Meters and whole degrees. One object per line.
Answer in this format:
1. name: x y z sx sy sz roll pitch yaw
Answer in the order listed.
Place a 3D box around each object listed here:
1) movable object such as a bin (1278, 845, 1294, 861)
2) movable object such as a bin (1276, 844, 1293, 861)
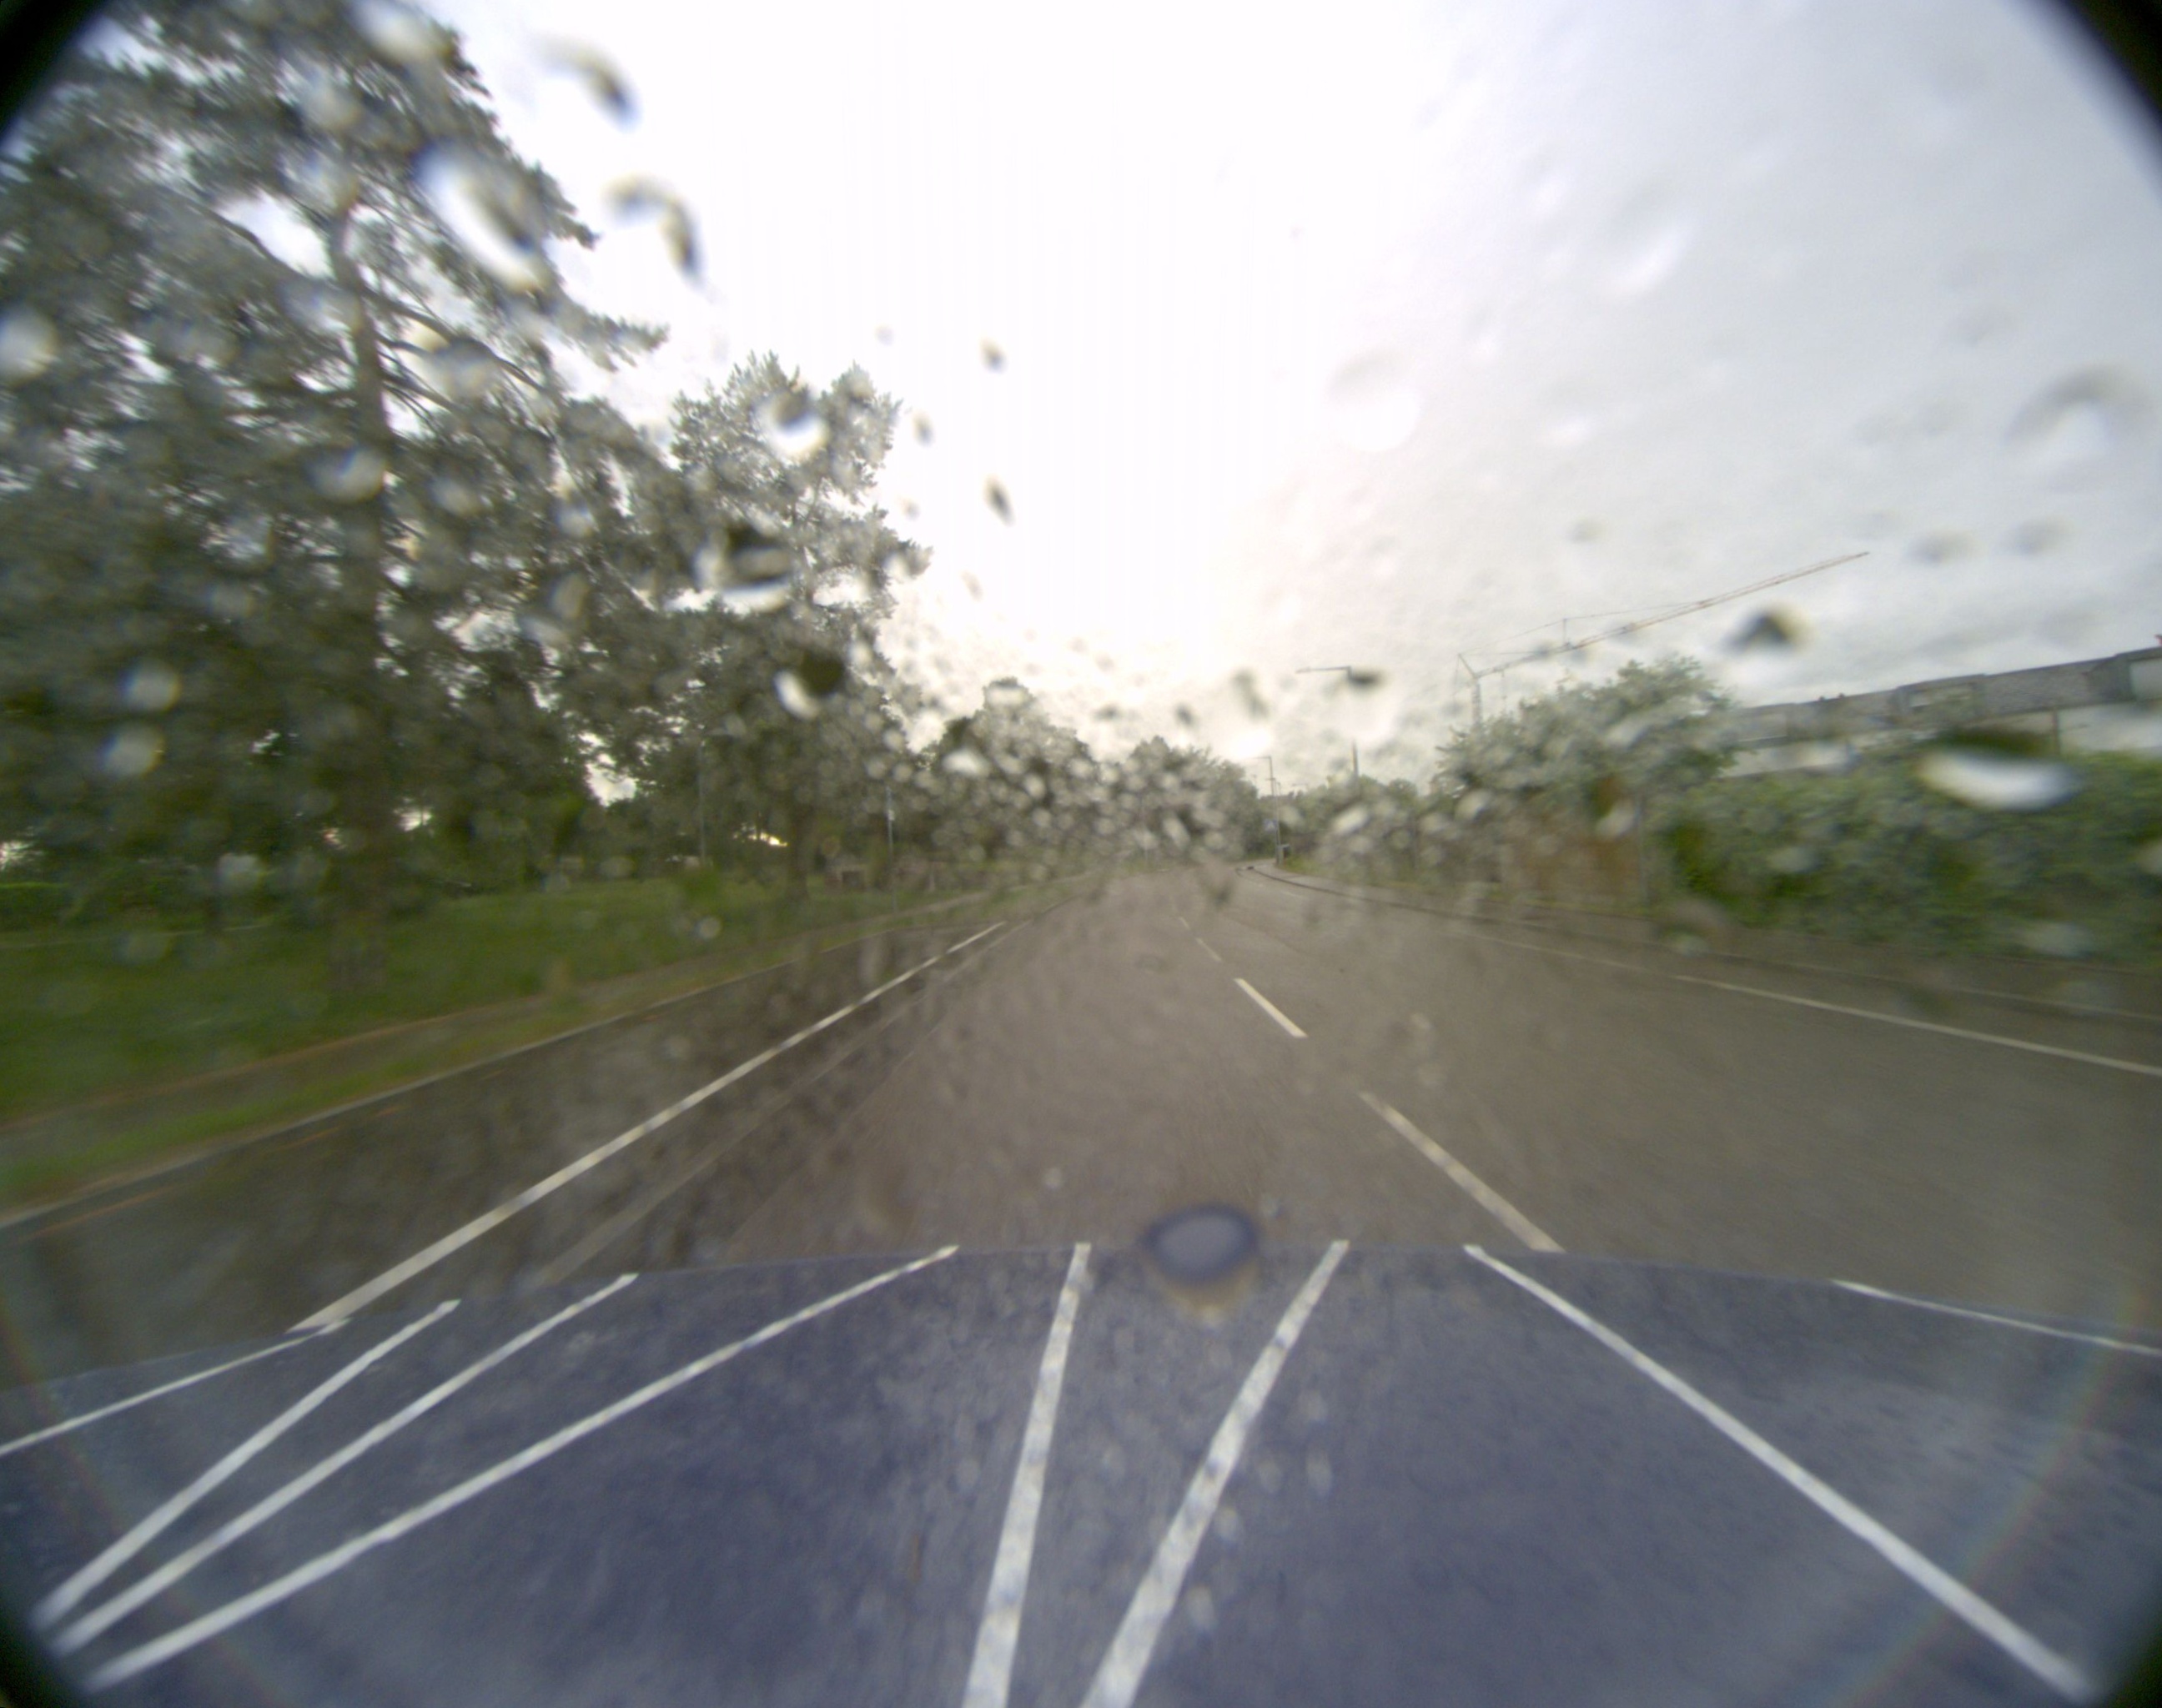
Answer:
1. movable object such as a bin: 17.685 -0.107 65.399 1.133 1.293 1.400 -6 -1 18
2. movable object such as a bin: 17.016 -0.096 63.508 1.133 1.314 1.364 -6 -1 18
